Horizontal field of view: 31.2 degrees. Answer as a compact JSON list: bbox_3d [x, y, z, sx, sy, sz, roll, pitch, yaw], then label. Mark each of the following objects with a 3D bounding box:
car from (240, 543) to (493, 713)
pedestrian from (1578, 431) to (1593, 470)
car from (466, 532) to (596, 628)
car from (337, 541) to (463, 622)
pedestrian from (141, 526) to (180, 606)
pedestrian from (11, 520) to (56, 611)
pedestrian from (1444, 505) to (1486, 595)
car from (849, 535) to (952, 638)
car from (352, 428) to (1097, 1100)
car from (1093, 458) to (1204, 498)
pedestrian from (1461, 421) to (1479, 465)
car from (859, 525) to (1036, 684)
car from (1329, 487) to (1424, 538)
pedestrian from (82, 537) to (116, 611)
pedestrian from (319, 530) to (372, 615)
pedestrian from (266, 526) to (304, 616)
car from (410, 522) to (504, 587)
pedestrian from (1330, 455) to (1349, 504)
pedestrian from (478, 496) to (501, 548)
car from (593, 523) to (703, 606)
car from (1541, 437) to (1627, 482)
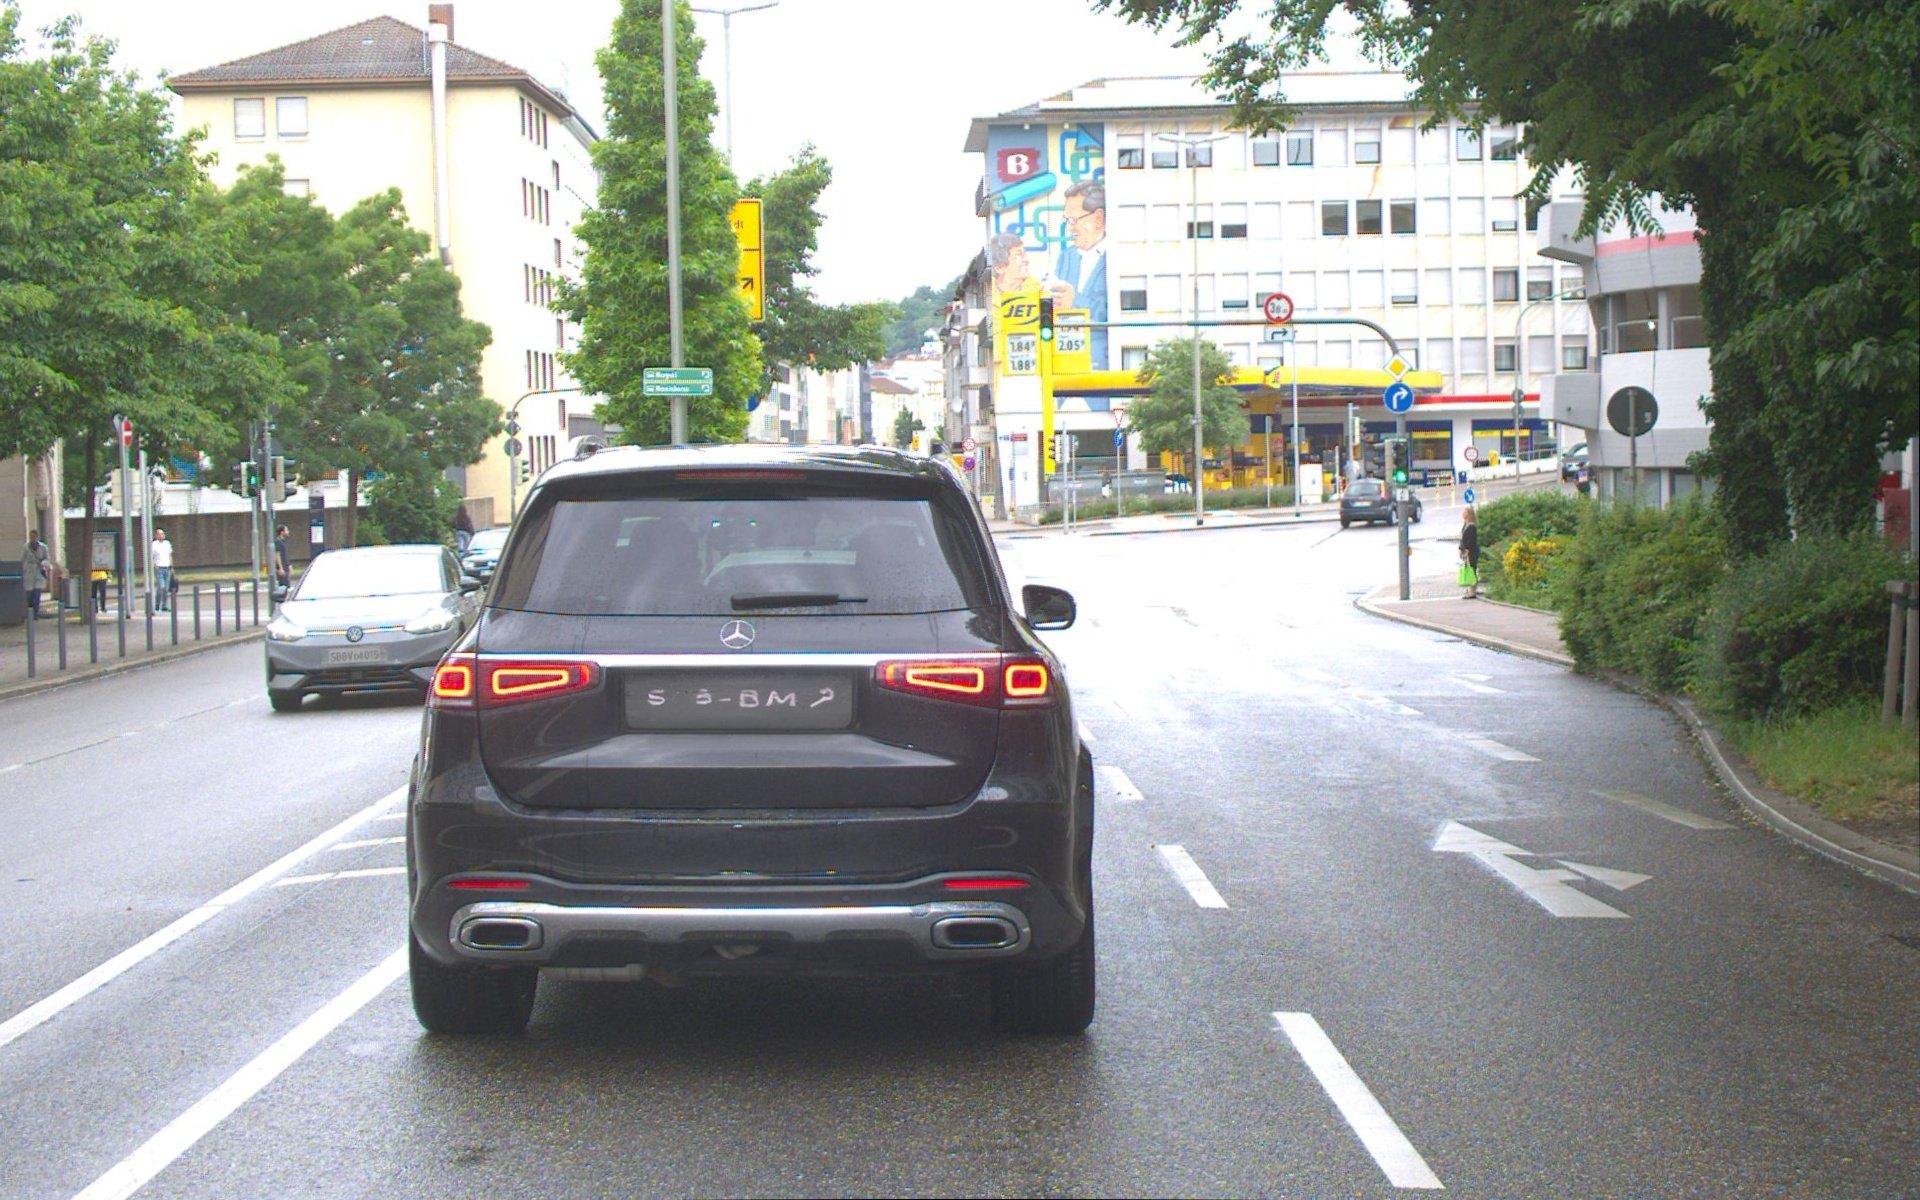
[{"bbox_3d":[-5.816,0.223,34.186,1.883,1.492,4.563,-2,1,-3],"label":"car"},{"bbox_3d":[26.610,-6.350,146.285,0.484,1.635,0.438,1,0,28],"label":"pedestrian"},{"bbox_3d":[-7.230,-0.351,58.273,1.811,1.457,4.289,-3,1,-3],"label":"car"},{"bbox_3d":[-10.709,-0.380,66.011,1.829,1.383,4.230,-3,1,-2],"label":"car"},{"bbox_3d":[-16.901,-0.716,72.660,0.689,1.650,0.613,-2,2,-7],"label":"pedestrian"},{"bbox_3d":[-16.972,-0.631,62.993,0.642,1.660,1.019,1,0,-6],"label":"pedestrian"},{"bbox_3d":[9.592,-0.945,65.299,0.646,1.704,0.470,1,0,36],"label":"pedestrian"},{"bbox_3d":[-1.203,-0.289,69.602,1.993,2.007,4.000,1,1,-1],"label":"car"},{"bbox_3d":[-0.660,0.426,11.304,1.993,1.794,4.000,1,1,-1],"label":"car"},{"bbox_3d":[7.048,-4.569,128.510,1.732,1.371,3.998,-4,3,-44],"label":"car"},{"bbox_3d":[20.283,-6.241,136.688,0.526,1.721,0.688,0,2,26],"label":"pedestrian"},{"bbox_3d":[-0.161,0.034,41.230,1.993,1.794,4.000,1,1,-1],"label":"car"},{"bbox_3d":[12.749,-2.679,105.053,1.798,1.520,4.051,2,2,23],"label":"car"},{"bbox_3d":[-18.154,-0.549,72.453,0.439,1.528,0.545,-1,2,14],"label":"pedestrian"},{"bbox_3d":[-12.300,-0.550,68.834,0.946,1.699,0.713,1,0,-17],"label":"pedestrian"},{"bbox_3d":[-13.285,-0.577,67.669,0.687,1.751,0.718,-1,2,-11],"label":"pedestrian"},{"bbox_3d":[-11.933,-1.099,81.815,1.745,1.407,3.971,-3,1,-2],"label":"car"},{"bbox_3d":[13.275,-4.198,120.262,0.572,1.691,0.631,1,0,1],"label":"pedestrian"},{"bbox_3d":[-15.538,-2.578,113.604,0.648,1.721,0.629,-2,2,-4],"label":"pedestrian"},{"bbox_3d":[-7.354,-0.863,81.482,1.891,1.805,4.574,-3,1,3],"label":"car"},{"bbox_3d":[25.145,-5.656,138.432,1.997,1.700,3.993,0,2,33],"label":"car"}]
